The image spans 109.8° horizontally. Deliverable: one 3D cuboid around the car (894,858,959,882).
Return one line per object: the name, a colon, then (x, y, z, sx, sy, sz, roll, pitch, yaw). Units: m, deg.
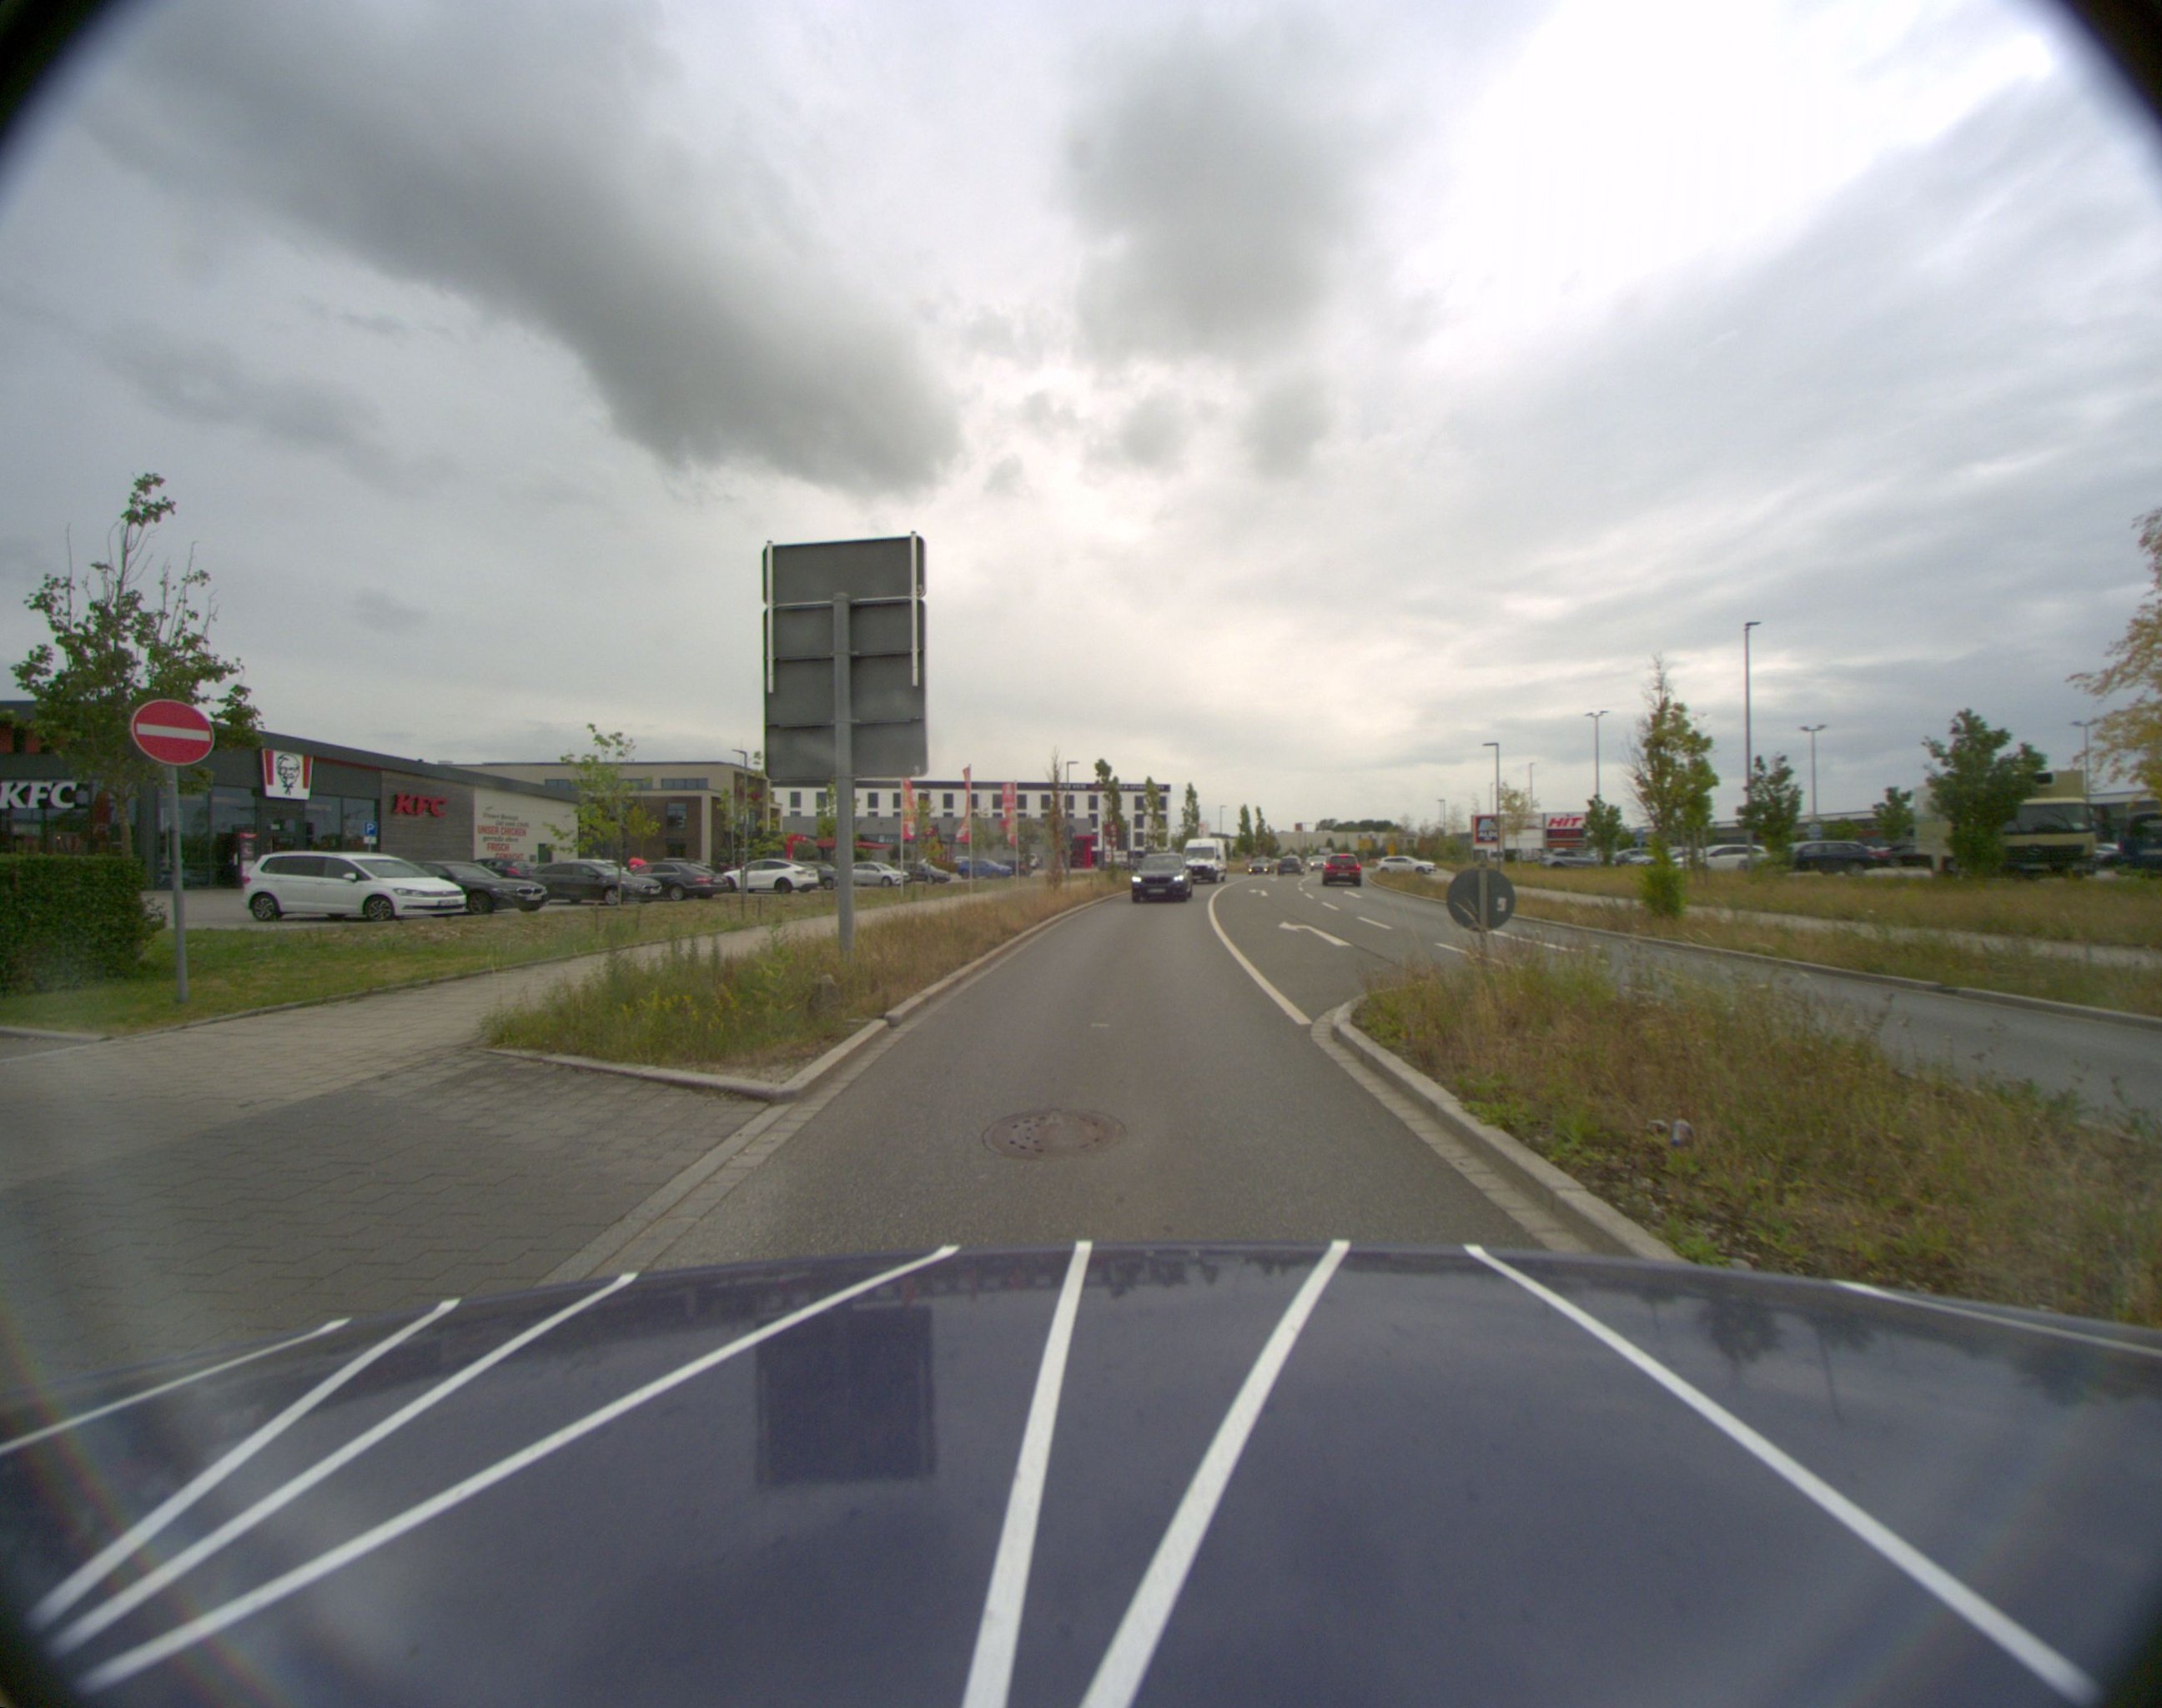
car: (-10.113, 1.034, 49.826, 3.762, 1.485, 1.892, -1, 0, 19)

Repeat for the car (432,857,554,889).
car: (-28.653, 0.897, 37.130, 4.374, 1.510, 2.047, 0, 0, 1)

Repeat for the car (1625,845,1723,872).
car: (35.602, 0.260, 45.725, 4.246, 1.504, 2.049, -1, 0, 23)

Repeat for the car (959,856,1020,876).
car: (-7.100, 0.920, 59.158, 4.266, 1.511, 1.969, -1, 0, 21)

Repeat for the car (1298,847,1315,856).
car: (57.259, -0.642, 192.884, 4.002, 2.002, 1.640, -1, 0, -17)

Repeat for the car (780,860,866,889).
car: (-13.826, 1.070, 40.795, 3.992, 1.476, 1.942, 0, 1, 16)

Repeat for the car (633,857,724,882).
car: (-24.913, 0.938, 47.170, 4.573, 1.510, 1.977, 0, 0, 1)

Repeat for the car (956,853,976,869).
car: (-12.799, 0.783, 84.761, 2.000, 1.687, 4.790, -1, 0, -7)

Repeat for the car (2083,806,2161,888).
car: (28.644, -0.189, 18.529, 4.910, 1.978, 2.181, -1, 0, 11)

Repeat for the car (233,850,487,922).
car: (-17.394, 0.747, 18.489, 4.358, 1.630, 1.938, 0, 0, 1)

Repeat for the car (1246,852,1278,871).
car: (15.515, 0.630, 65.059, 1.753, 1.575, 4.007, -1, 0, 27)

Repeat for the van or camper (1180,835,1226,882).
van or camper: (7.252, 0.263, 44.713, 2.261, 2.601, 5.703, 0, 0, 13)

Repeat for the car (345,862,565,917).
car: (-17.169, 0.939, 21.003, 4.477, 1.428, 2.074, 0, 0, 4)

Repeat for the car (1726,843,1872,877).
car: (31.492, 0.277, 33.493, 4.237, 1.426, 2.000, 0, 0, 16)

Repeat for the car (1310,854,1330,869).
car: (23.224, 0.700, 73.869, 1.704, 1.429, 4.037, 0, 0, 16)

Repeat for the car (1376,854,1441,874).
car: (25.277, 0.731, 58.710, 4.181, 1.460, 1.890, 0, 1, 44)

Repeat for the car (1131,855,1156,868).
car: (7.675, 0.875, 93.015, 1.996, 1.488, 4.613, 0, 1, 17)

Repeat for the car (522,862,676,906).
car: (-16.334, 0.998, 25.894, 4.092, 1.429, 1.944, 0, 0, 5)

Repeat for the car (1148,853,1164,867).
car: (9.842, 0.774, 99.105, 1.765, 1.676, 4.415, 0, 0, 10)

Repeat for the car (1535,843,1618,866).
car: (34.935, 0.082, 53.684, 4.602, 1.552, 2.003, 0, 0, 20)

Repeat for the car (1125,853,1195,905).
car: (2.869, 0.836, 26.863, 1.997, 1.654, 4.004, -2, -1, 12)

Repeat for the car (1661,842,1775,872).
car: (34.004, 0.172, 40.668, 4.253, 1.550, 1.991, 0, 0, 13)

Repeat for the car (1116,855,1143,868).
car: (5.567, 0.847, 87.070, 1.865, 1.428, 4.887, 0, 0, 19)

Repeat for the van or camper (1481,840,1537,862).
van or camper: (54.966, -0.424, 97.590, 5.861, 2.783, 2.245, 0, 1, 13)

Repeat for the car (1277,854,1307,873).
car: (16.041, 0.705, 57.661, 1.831, 1.412, 4.252, -1, 0, 21)

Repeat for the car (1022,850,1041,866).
car: (-6.354, 0.543, 97.112, 2.000, 1.975, 4.632, -1, 0, -10)

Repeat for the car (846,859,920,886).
car: (-11.802, 1.084, 45.309, 3.866, 1.473, 1.905, 1, 1, 17)

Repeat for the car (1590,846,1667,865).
car: (40.889, 0.132, 56.877, 4.361, 1.383, 2.169, -1, 0, 24)

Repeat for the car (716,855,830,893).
car: (-14.464, 0.911, 35.745, 4.568, 1.635, 2.090, 1, 0, 12)

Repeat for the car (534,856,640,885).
car: (-27.543, 0.893, 42.452, 4.572, 1.510, 2.081, 0, 0, 3)

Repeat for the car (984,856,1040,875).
car: (-5.553, 0.923, 61.331, 3.990, 1.485, 1.985, -1, 0, 24)

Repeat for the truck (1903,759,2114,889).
truck: (29.754, -0.823, 24.838, 2.851, 3.520, 8.447, -1, 0, 40)

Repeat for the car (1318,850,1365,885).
car: (13.485, 0.676, 39.497, 1.801, 1.659, 4.331, 2, 0, 13)

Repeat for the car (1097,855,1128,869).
car: (3.434, 0.809, 81.824, 1.963, 1.451, 4.839, 0, 0, 21)

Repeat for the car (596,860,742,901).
car: (-15.529, 0.987, 28.766, 4.526, 1.460, 2.033, 0, 0, 7)
